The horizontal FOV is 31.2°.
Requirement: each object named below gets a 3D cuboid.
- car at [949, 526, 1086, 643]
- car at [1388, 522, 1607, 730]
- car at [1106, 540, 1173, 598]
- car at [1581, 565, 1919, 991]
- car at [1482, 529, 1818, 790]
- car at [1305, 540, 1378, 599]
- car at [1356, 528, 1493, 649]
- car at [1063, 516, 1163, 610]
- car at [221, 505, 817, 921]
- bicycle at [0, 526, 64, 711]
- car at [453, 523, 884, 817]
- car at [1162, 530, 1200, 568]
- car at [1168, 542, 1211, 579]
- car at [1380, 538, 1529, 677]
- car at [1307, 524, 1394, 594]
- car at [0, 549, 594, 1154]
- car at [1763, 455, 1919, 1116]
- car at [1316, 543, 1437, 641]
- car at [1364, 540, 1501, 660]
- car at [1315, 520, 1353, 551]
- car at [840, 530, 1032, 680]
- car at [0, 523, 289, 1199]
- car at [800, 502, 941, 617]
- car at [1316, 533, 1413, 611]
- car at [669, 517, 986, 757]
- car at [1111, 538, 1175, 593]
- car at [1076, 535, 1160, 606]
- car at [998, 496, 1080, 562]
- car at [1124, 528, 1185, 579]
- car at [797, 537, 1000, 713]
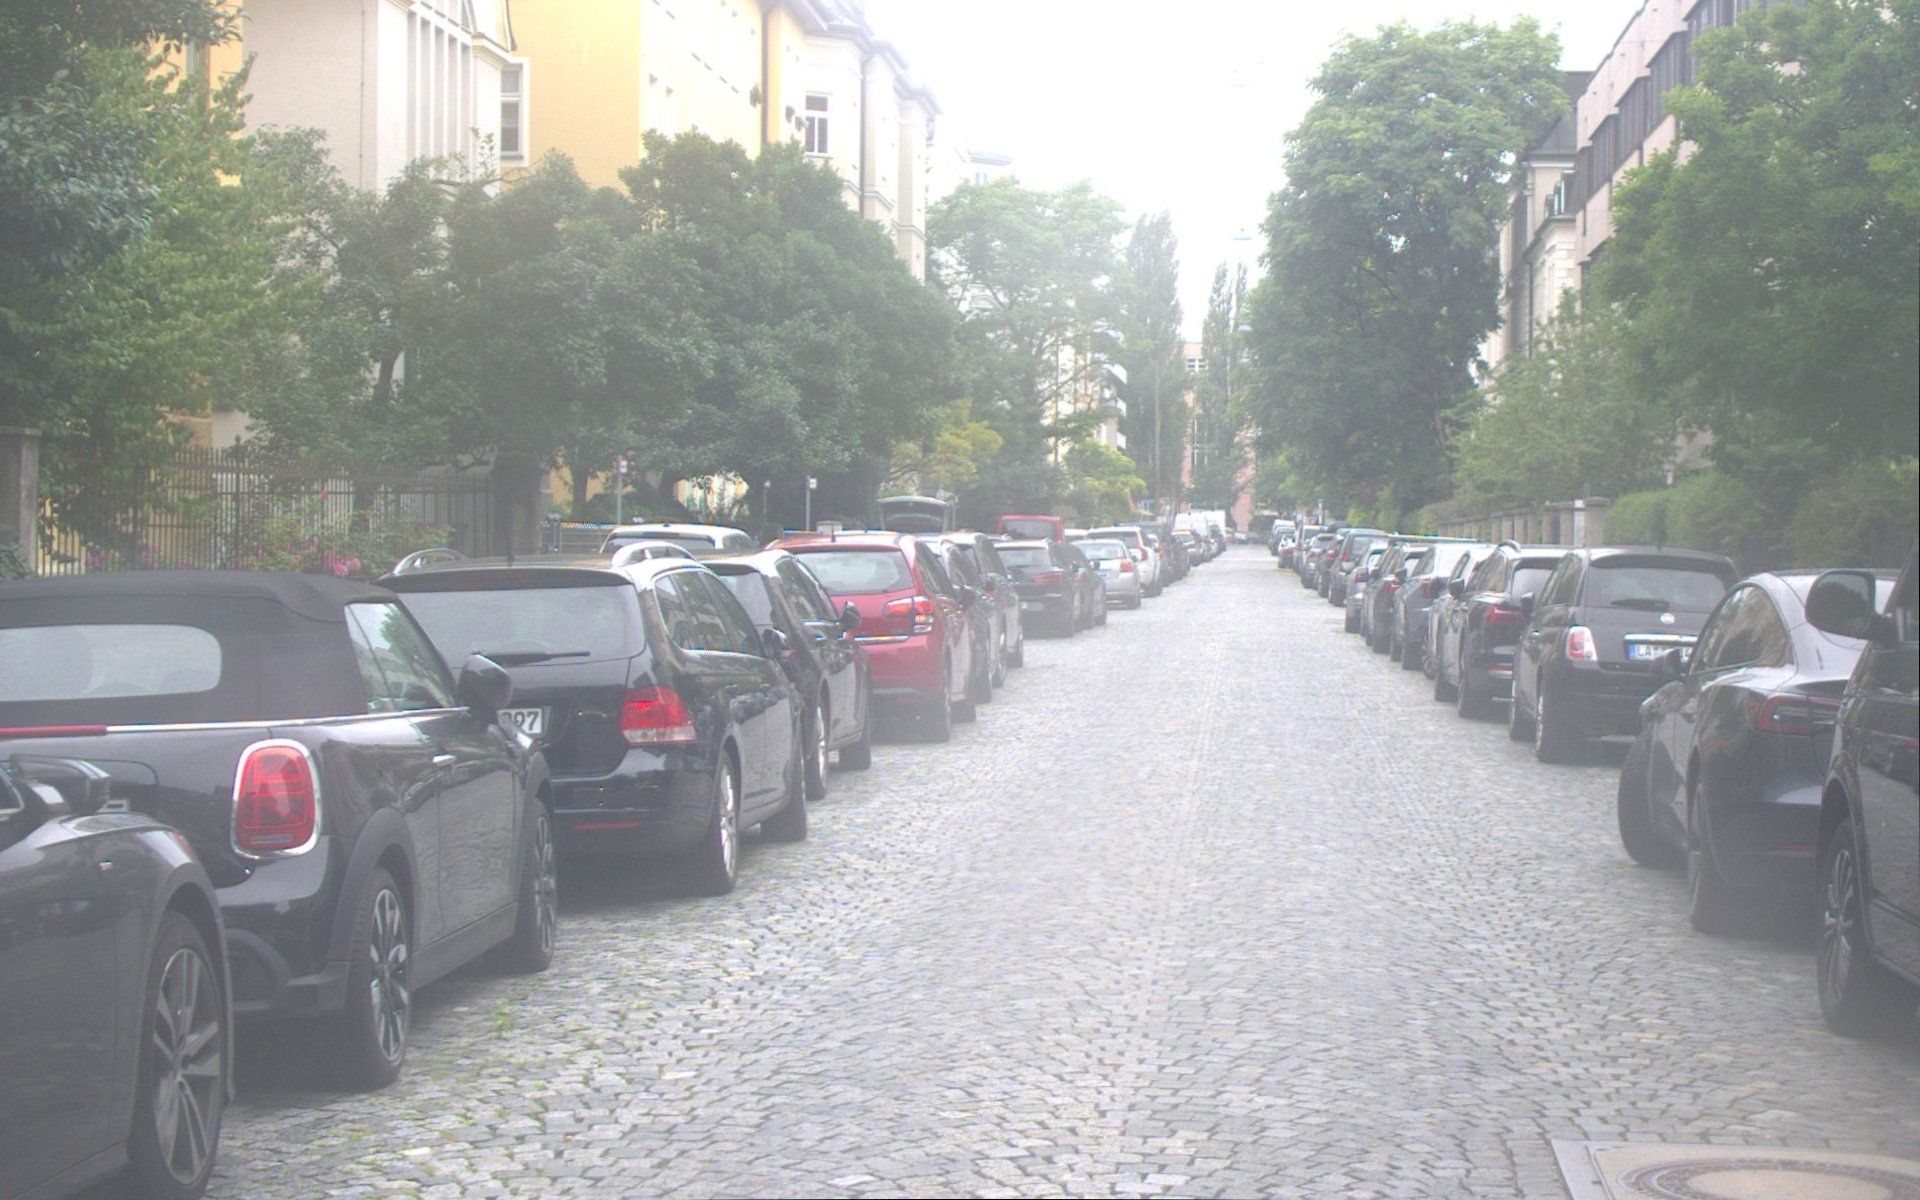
[{"bbox_3d":[0.888,-0.242,51.000,1.922,1.629,3.739,1,1,2],"label":"car"},{"bbox_3d":[4.468,0.187,28.975,1.661,1.629,3.538,1,1,6],"label":"car"},{"bbox_3d":[5.462,-0.939,104.394,1.922,1.630,3.739,-2,0,4],"label":"car"},{"bbox_3d":[3.813,0.636,14.407,1.922,1.429,4.800,4,1,6],"label":"car"},{"bbox_3d":[4.881,0.371,24.843,1.922,1.629,4.045,3,1,6],"label":"car"},{"bbox_3d":[11.266,-0.900,101.674,1.922,1.630,3.739,-2,0,4],"label":"car"},{"bbox_3d":[6.735,-0.177,50.076,1.660,1.630,3.448,-2,0,3],"label":"car"},{"bbox_3d":[3.211,-0.774,71.657,1.922,1.832,3.739,-2,0,4],"label":"car"},{"bbox_3d":[-1.789,0.417,15.344,1.727,1.535,4.336,-2,0,5],"label":"car"},{"bbox_3d":[-6.184,0.106,21.114,0.418,1.139,1.763,3,1,17],"label":"bicycle"},{"bbox_3d":[-1.645,0.368,20.824,1.922,1.541,3.999,-2,0,4],"label":"car"},{"bbox_3d":[12.440,-2.856,193.707,1.993,2.007,4.000,1,0,2],"label":"car"},{"bbox_3d":[10.735,-1.831,160.914,1.922,1.630,3.739,-2,0,4],"label":"car"},{"bbox_3d":[5.776,0.068,40.048,1.598,1.497,3.261,-2,0,9],"label":"car"},{"bbox_3d":[9.650,-1.015,85.156,1.922,1.630,3.739,-2,0,4],"label":"car"},{"bbox_3d":[-2.299,0.626,10.683,1.703,1.511,3.727,-1,1,3],"label":"car"},{"bbox_3d":[3.479,0.490,8.806,2.022,1.684,4.850,1,1,5],"label":"car"},{"bbox_3d":[6.656,-0.136,55.145,1.660,1.460,3.448,-2,0,3],"label":"car"},{"bbox_3d":[6.182,-0.011,45.089,1.661,1.451,3.447,-2,0,7],"label":"car"},{"bbox_3d":[20.971,-3.602,192.963,1.922,1.630,3.739,-2,0,4],"label":"car"},{"bbox_3d":[-0.217,0.032,37.243,1.661,1.529,3.484,1,1,6],"label":"car"},{"bbox_3d":[-2.692,0.632,6.037,1.805,1.499,5.178,-1,1,2],"label":"car"},{"bbox_3d":[-1.309,-0.609,51.697,1.779,1.629,3.739,1,1,3],"label":"car"},{"bbox_3d":[9.063,-0.624,77.236,1.922,1.630,3.739,-2,0,4],"label":"car"},{"bbox_3d":[-0.927,0.249,26.271,1.922,1.630,3.805,-2,0,5],"label":"car"},{"bbox_3d":[5.857,-1.095,109.535,1.922,1.630,3.739,-2,0,4],"label":"car"},{"bbox_3d":[3.909,-0.718,84.619,1.922,1.630,3.739,-2,0,4],"label":"car"},{"bbox_3d":[2.107,-1.856,90.497,1.922,1.630,3.739,-2,0,4],"label":"car"},{"bbox_3d":[6.551,-1.559,115.623,1.922,1.630,3.739,-2,0,4],"label":"car"},{"bbox_3d":[-0.511,0.200,30.751,1.432,1.455,2.650,-2,0,6],"label":"car"}]
